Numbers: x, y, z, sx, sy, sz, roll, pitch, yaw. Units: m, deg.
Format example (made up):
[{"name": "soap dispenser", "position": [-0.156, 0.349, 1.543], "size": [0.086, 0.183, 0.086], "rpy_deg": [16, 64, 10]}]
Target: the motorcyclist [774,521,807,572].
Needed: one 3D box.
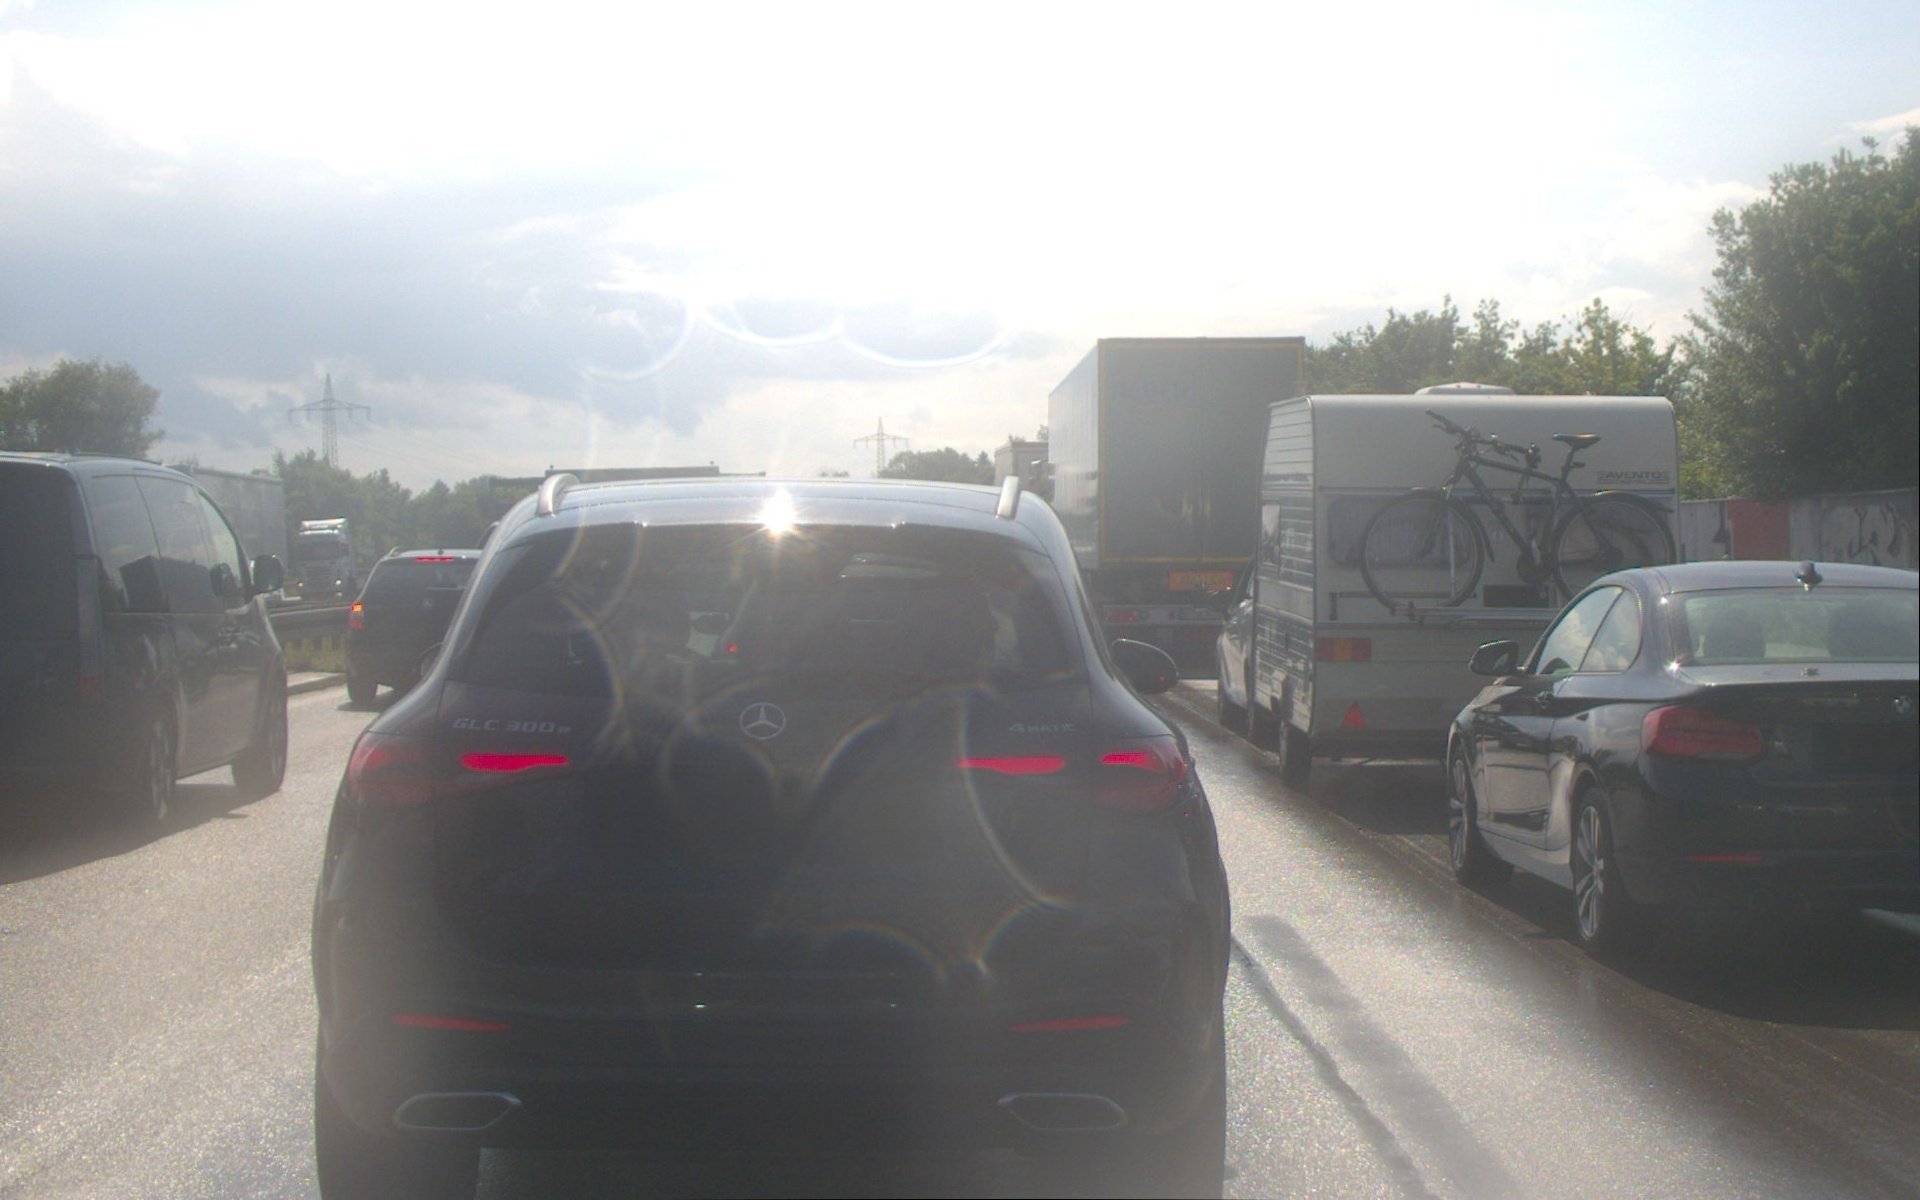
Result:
[{"name": "motorcyclist", "position": [-5.706, -1.807, 115.895], "size": [1.064, 1.712, 0.785], "rpy_deg": [0, 1, 0]}]

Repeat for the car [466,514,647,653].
[{"name": "car", "position": [-5.226, -0.228, 44.955], "size": [1.993, 1.714, 4.000], "rpy_deg": [1, 1, -2]}]

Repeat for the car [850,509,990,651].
[{"name": "car", "position": [-0.596, -0.336, 53.918], "size": [1.993, 2.007, 4.000], "rpy_deg": [4, 1, 0]}]

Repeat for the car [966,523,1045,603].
[{"name": "car", "position": [1.181, -0.987, 90.598], "size": [1.993, 2.007, 4.000], "rpy_deg": [2, 1, 0]}]

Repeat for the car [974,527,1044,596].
[{"name": "car", "position": [1.508, -1.212, 107.219], "size": [1.993, 2.007, 4.000], "rpy_deg": [4, 1, 0]}]

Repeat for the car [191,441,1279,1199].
[{"name": "car", "position": [-0.434, 0.506, 8.511], "size": [1.993, 1.656, 4.406], "rpy_deg": [0, 1, -1]}]

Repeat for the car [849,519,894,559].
[{"name": "car", "position": [-3.959, -2.701, 153.412], "size": [1.876, 1.754, 4.001], "rpy_deg": [1, 1, -3]}]

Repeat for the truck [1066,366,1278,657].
[{"name": "truck", "position": [3.121, -1.309, 51.910], "size": [2.995, 4.152, 5.240], "rpy_deg": [0, 1, 2]}]

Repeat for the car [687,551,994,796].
[{"name": "car", "position": [-0.664, 0.391, 21.664], "size": [1.757, 1.382, 3.945], "rpy_deg": [0, 1, 1]}]

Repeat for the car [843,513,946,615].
[{"name": "car", "position": [-1.306, -0.744, 70.109], "size": [1.993, 2.007, 4.000], "rpy_deg": [0, 1, 0]}]

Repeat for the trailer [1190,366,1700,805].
[{"name": "trailer", "position": [2.977, -0.127, 22.830], "size": [2.374, 2.475, 6.523], "rpy_deg": [1, 1, -1]}]

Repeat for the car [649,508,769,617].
[{"name": "car", "position": [-5.042, -0.767, 69.474], "size": [1.993, 2.007, 4.000], "rpy_deg": [4, 1, 0]}]

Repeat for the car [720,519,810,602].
[{"name": "car", "position": [-4.906, -1.015, 86.910], "size": [1.993, 2.007, 4.000], "rpy_deg": [1, 1, 0]}]

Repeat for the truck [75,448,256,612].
[{"name": "truck", "position": [-21.005, -1.831, 91.368], "size": [3.004, 4.089, 7.687], "rpy_deg": [-2, 1, -1]}]

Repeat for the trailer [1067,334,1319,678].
[{"name": "trailer", "position": [2.964, -1.211, 46.088], "size": [3.007, 4.152, 8.536], "rpy_deg": [0, 1, 2]}]

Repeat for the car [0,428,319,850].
[{"name": "car", "position": [-5.004, 0.138, 18.951], "size": [1.993, 2.007, 5.270], "rpy_deg": [0, 1, -1]}]

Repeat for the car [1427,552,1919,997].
[{"name": "car", "position": [3.087, 0.551, 13.573], "size": [1.848, 1.459, 4.256], "rpy_deg": [-1, 1, -1]}]

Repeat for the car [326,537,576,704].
[{"name": "car", "position": [-4.844, 0.150, 33.262], "size": [1.757, 1.511, 4.209], "rpy_deg": [0, 1, 1]}]

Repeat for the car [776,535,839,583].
[{"name": "car", "position": [-5.521, -1.504, 124.862], "size": [1.993, 1.610, 4.000], "rpy_deg": [4, 1, 0]}]

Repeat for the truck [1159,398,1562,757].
[{"name": "truck", "position": [2.949, -0.194, 26.760], "size": [2.374, 2.468, 5.756], "rpy_deg": [1, 1, -1]}]

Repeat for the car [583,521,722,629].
[{"name": "car", "position": [-5.241, -0.451, 59.022], "size": [1.993, 1.766, 4.000], "rpy_deg": [-1, 1, 0]}]

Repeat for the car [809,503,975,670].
[{"name": "car", "position": [-0.817, -0.197, 43.859], "size": [1.993, 2.007, 4.000], "rpy_deg": [1, 1, 0]}]

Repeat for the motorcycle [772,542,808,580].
[{"name": "motorcycle", "position": [-5.709, -1.318, 115.743], "size": [1.074, 1.267, 2.690], "rpy_deg": [0, 1, 0]}]

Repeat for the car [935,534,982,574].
[{"name": "car", "position": [-0.075, -2.062, 154.598], "size": [1.876, 1.754, 4.001], "rpy_deg": [1, 1, -3]}]

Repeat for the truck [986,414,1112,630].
[{"name": "truck", "position": [2.031, -1.803, 80.956], "size": [2.502, 4.813, 7.544], "rpy_deg": [1, 1, -2]}]

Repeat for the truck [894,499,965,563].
[{"name": "truck", "position": [-2.073, -4.483, 224.908], "size": [3.842, 4.003, 11.223], "rpy_deg": [1, 1, -4]}]

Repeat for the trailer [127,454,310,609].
[{"name": "trailer", "position": [-21.087, -1.929, 98.415], "size": [3.004, 4.089, 10.477], "rpy_deg": [-2, 1, -1]}]
